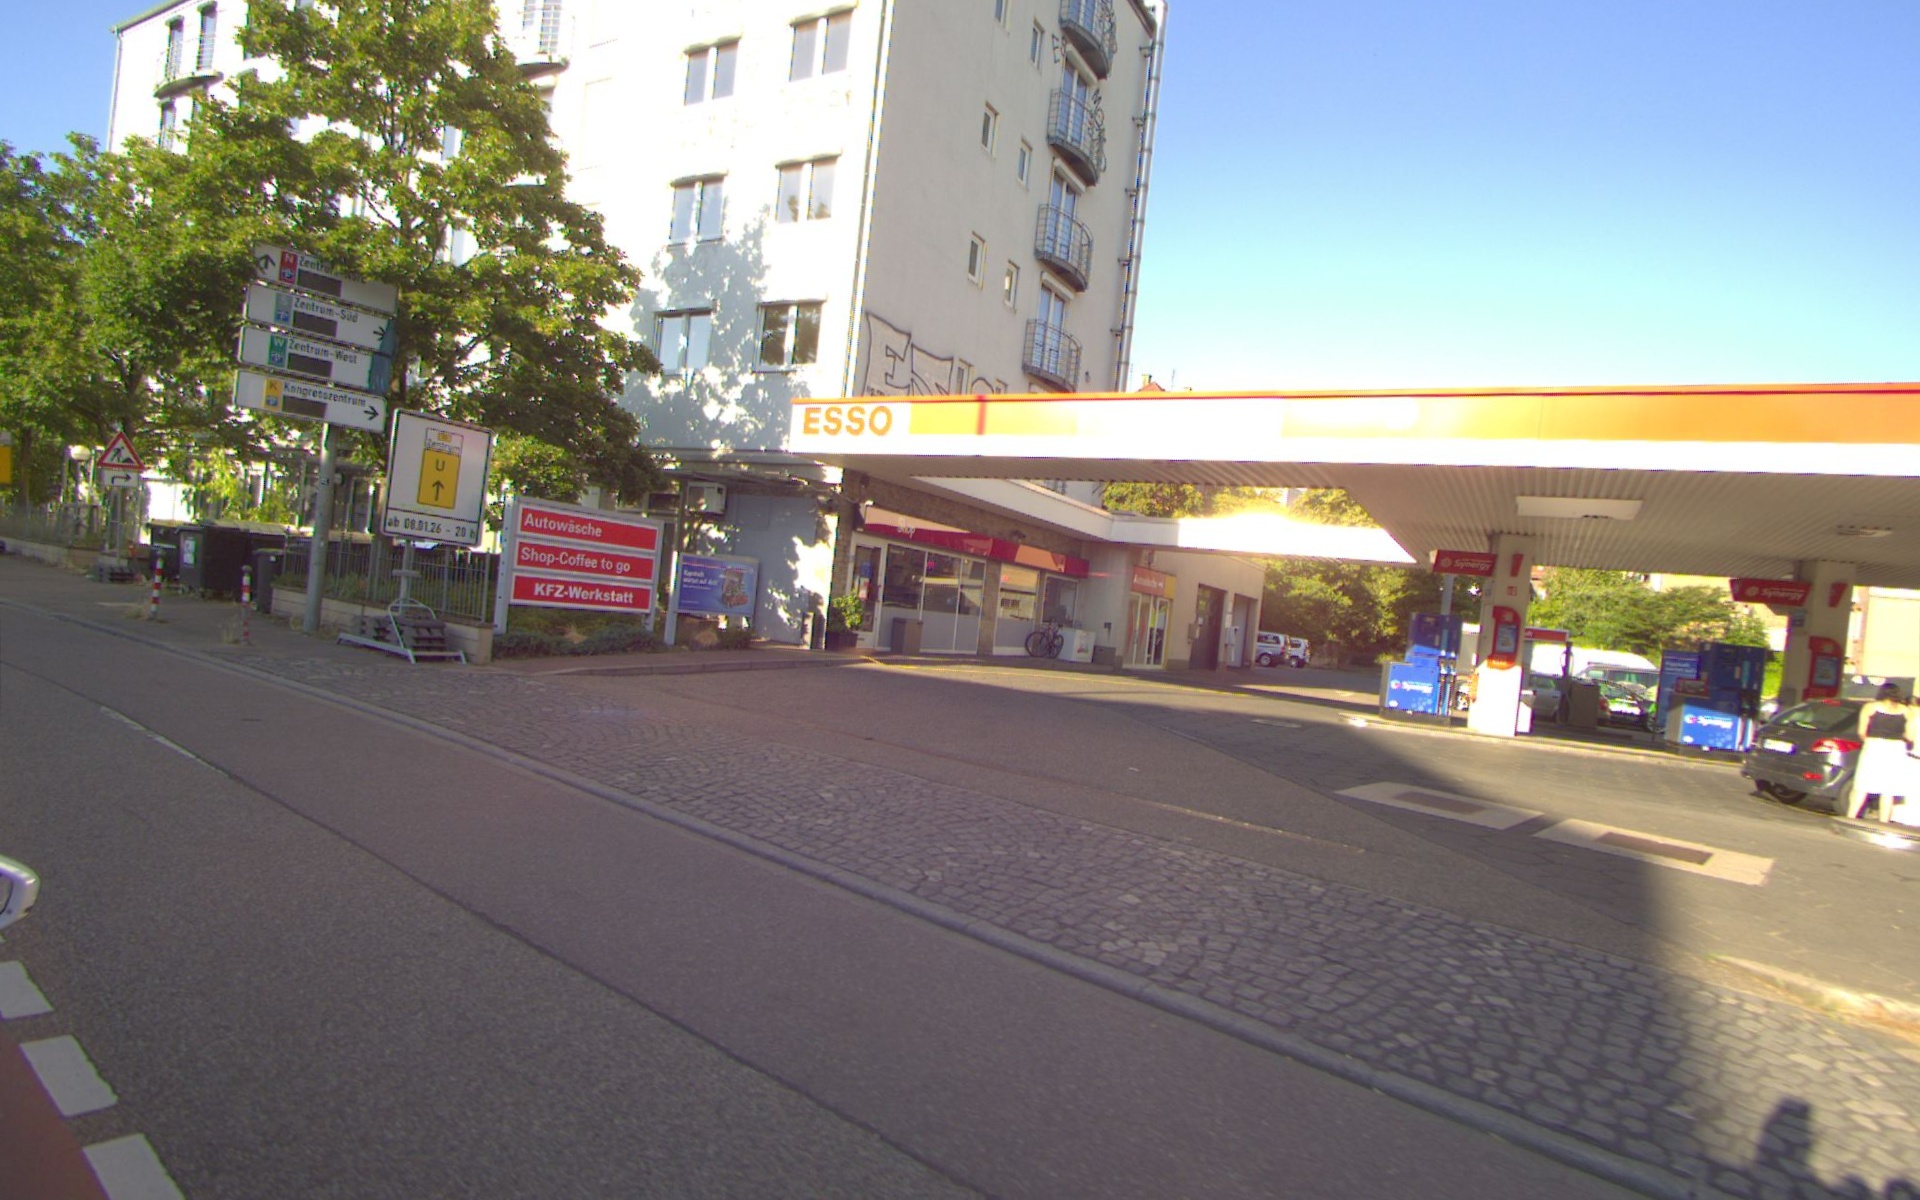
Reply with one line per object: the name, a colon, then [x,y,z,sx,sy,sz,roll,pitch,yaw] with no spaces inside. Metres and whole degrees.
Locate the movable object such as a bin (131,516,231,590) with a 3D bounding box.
movable object such as a bin: [-16.355,-0.969,21.147,1.035,1.361,1.217,6,0,18]

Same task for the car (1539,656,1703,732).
car: [21.503,3.026,32.955,4.224,1.867,1.995,6,0,32]

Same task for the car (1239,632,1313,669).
car: [19.623,3.125,62.444,3.934,1.792,1.806,6,0,32]

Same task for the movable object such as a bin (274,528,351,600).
movable object such as a bin: [-15.064,-0.831,23.421,0.941,1.503,1.126,6,0,33]

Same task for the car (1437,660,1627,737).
car: [15.327,2.591,27.082,4.186,1.438,1.747,6,0,32]

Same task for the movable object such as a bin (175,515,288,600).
movable object such as a bin: [-14.713,-0.840,20.351,1.189,1.503,1.330,6,0,23]

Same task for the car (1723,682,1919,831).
car: [11.424,1.925,11.987,3.239,1.457,1.591,6,0,9]

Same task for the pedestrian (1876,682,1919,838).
pedestrian: [10.595,1.758,10.955,0.557,1.642,0.534,6,1,8]

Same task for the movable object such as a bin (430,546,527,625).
movable object such as a bin: [-9.572,-0.272,20.040,0.851,1.428,1.406,6,1,32]

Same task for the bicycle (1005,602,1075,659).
bicycle: [2.134,0.823,26.275,0.518,1.330,2.806,7,0,31]

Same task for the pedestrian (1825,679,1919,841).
pedestrian: [10.040,1.723,10.979,0.557,1.642,0.534,6,1,9]

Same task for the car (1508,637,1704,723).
car: [25.475,3.097,40.015,6.196,2.532,1.996,6,0,30]

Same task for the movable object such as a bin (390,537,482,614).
movable object such as a bin: [-10.995,-0.512,21.103,1.259,1.440,1.194,8,3,36]

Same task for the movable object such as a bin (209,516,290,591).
movable object such as a bin: [-15.902,-1.029,22.531,0.941,1.503,1.104,6,0,32]

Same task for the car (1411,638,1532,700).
car: [26.934,3.610,53.072,5.394,2.524,1.692,6,1,31]

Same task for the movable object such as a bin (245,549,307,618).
movable object such as a bin: [-11.490,-0.271,16.905,0.607,1.059,0.619,6,1,36]

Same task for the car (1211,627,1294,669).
car: [16.172,2.646,55.599,3.934,1.792,1.806,6,0,32]

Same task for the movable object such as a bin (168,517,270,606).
movable object such as a bin: [-13.798,-0.712,18.735,1.234,1.526,1.093,3,-1,33]

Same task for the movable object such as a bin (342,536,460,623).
movable object such as a bin: [-10.389,-0.366,18.752,0.851,1.427,1.609,6,0,32]

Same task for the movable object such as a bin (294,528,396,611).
movable object such as a bin: [-12.231,-0.603,20.016,1.260,1.452,1.307,8,3,38]

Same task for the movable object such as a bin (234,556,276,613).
movable object such as a bin: [-12.149,-0.267,17.329,0.483,0.918,0.393,7,1,36]

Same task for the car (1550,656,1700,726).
car: [23.662,3.208,35.998,4.224,1.867,1.995,6,0,32]

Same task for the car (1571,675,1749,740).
car: [20.959,3.190,30.343,4.186,1.312,1.747,6,0,32]

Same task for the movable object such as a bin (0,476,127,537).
movable object such as a bin: [-49.706,-5.117,55.278,2.506,2.521,5.357,6,0,30]

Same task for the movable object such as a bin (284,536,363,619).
movable object such as a bin: [-11.079,-0.384,17.527,0.851,1.325,0.778,6,1,32]
